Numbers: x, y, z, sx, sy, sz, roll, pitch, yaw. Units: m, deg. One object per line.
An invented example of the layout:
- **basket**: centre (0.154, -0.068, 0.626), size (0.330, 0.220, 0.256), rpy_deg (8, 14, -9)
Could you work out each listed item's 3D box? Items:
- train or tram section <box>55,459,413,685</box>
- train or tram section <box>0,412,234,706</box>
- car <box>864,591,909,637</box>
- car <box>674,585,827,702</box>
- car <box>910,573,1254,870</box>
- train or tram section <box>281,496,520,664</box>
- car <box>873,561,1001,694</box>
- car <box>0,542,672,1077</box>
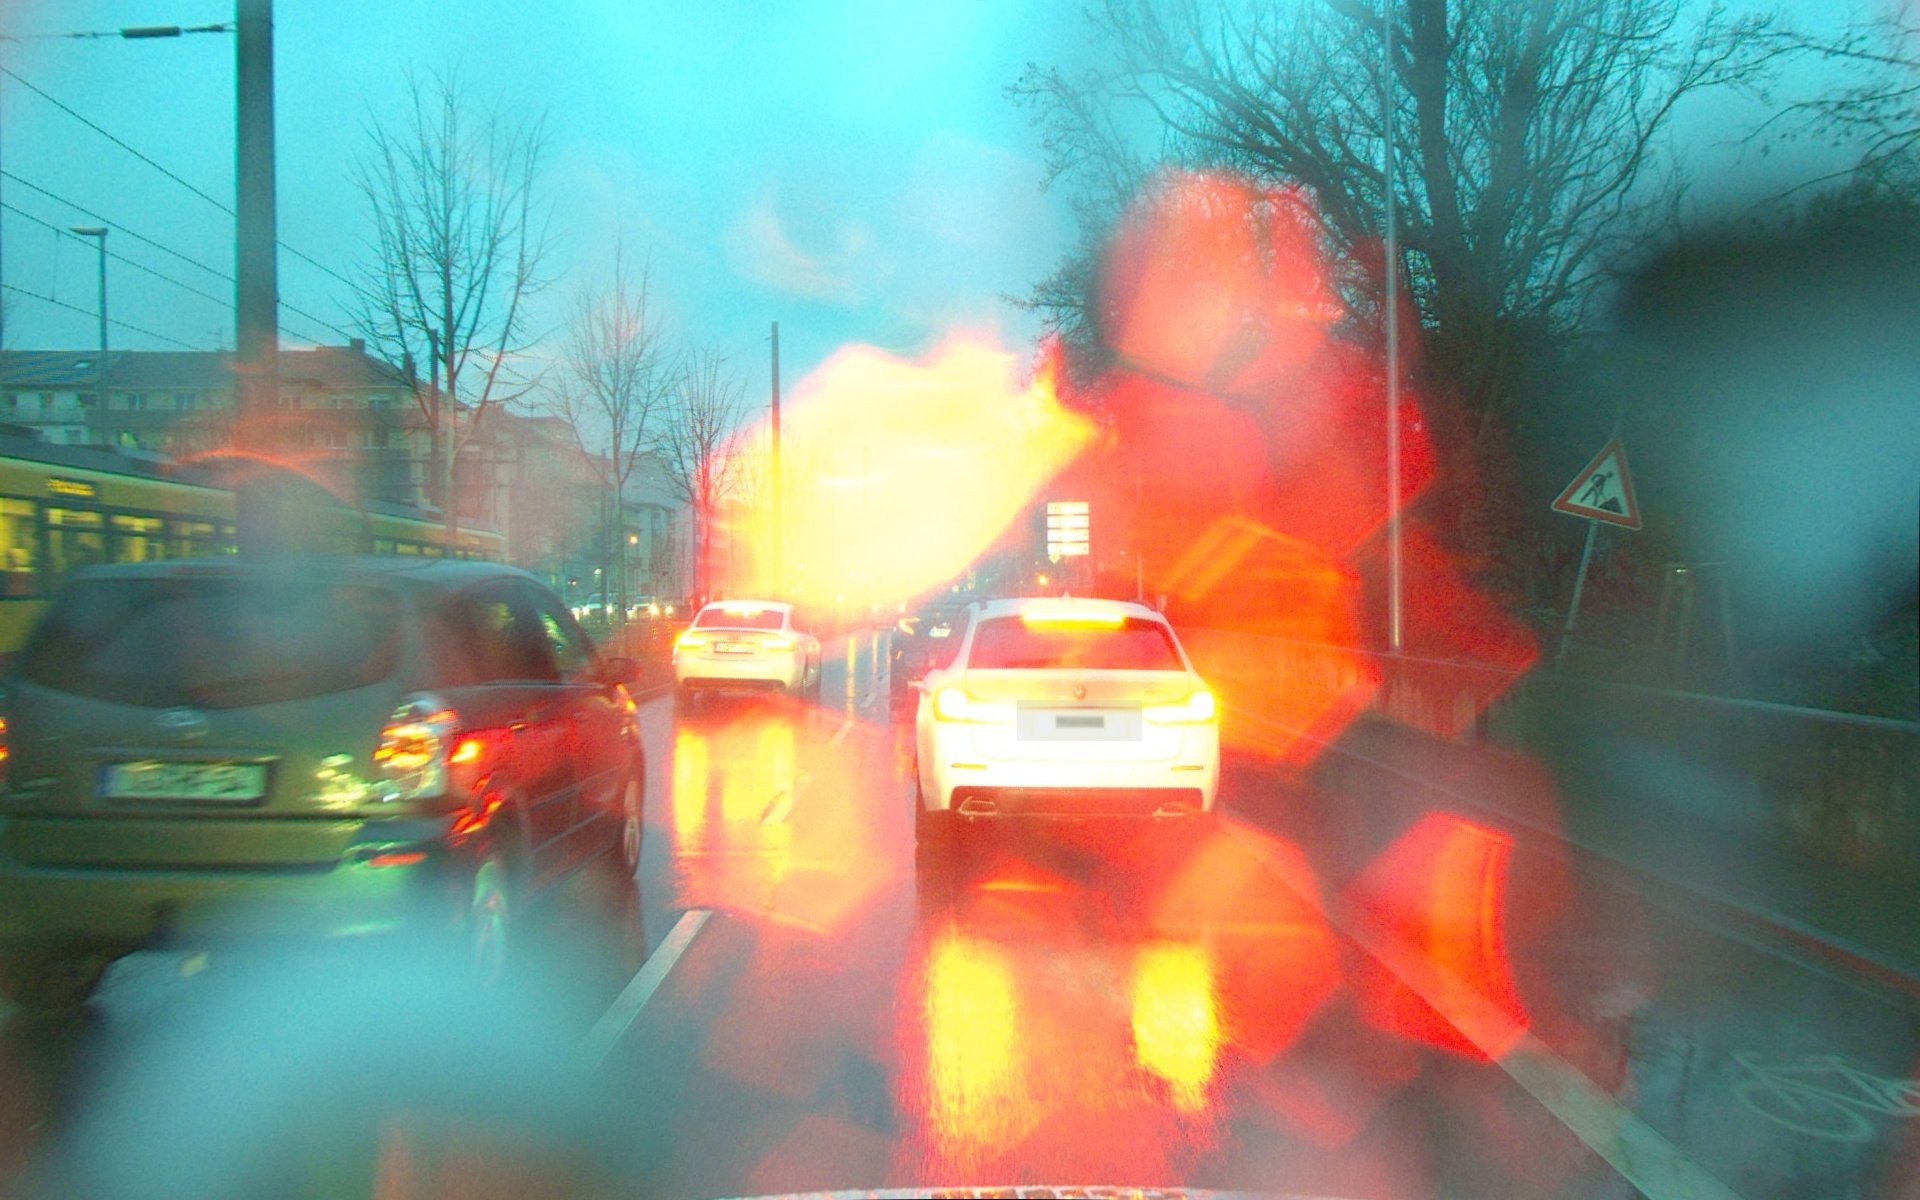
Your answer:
- **train or tram section**: centre (-13.213, -0.448, 31.233), size (2.784, 3.566, 9.156), rpy_deg (-1, 0, -1)
- **train or tram section**: centre (-13.061, -0.467, 22.057), size (2.784, 3.566, 9.156), rpy_deg (-1, 0, -1)
- **car**: centre (-3.417, 0.633, 77.461), size (1.953, 2.049, 3.999), rpy_deg (1, 0, -1)
- **car**: centre (-2.887, 0.570, 23.577), size (1.724, 1.495, 4.250), rpy_deg (1, 0, -2)
- **car**: centre (0.599, 0.662, 11.018), size (1.725, 1.580, 4.248), rpy_deg (1, 0, -3)
- **train or tram section**: centre (-13.344, -0.436, 40.416), size (2.784, 3.566, 9.156), rpy_deg (-1, 0, -1)
- **car**: centre (-0.388, 0.434, 27.668), size (1.953, 2.049, 3.999), rpy_deg (1, 0, -1)
- **car**: centre (-2.423, 0.646, 7.055), size (1.724, 1.622, 3.999), rpy_deg (1, 0, -1)
